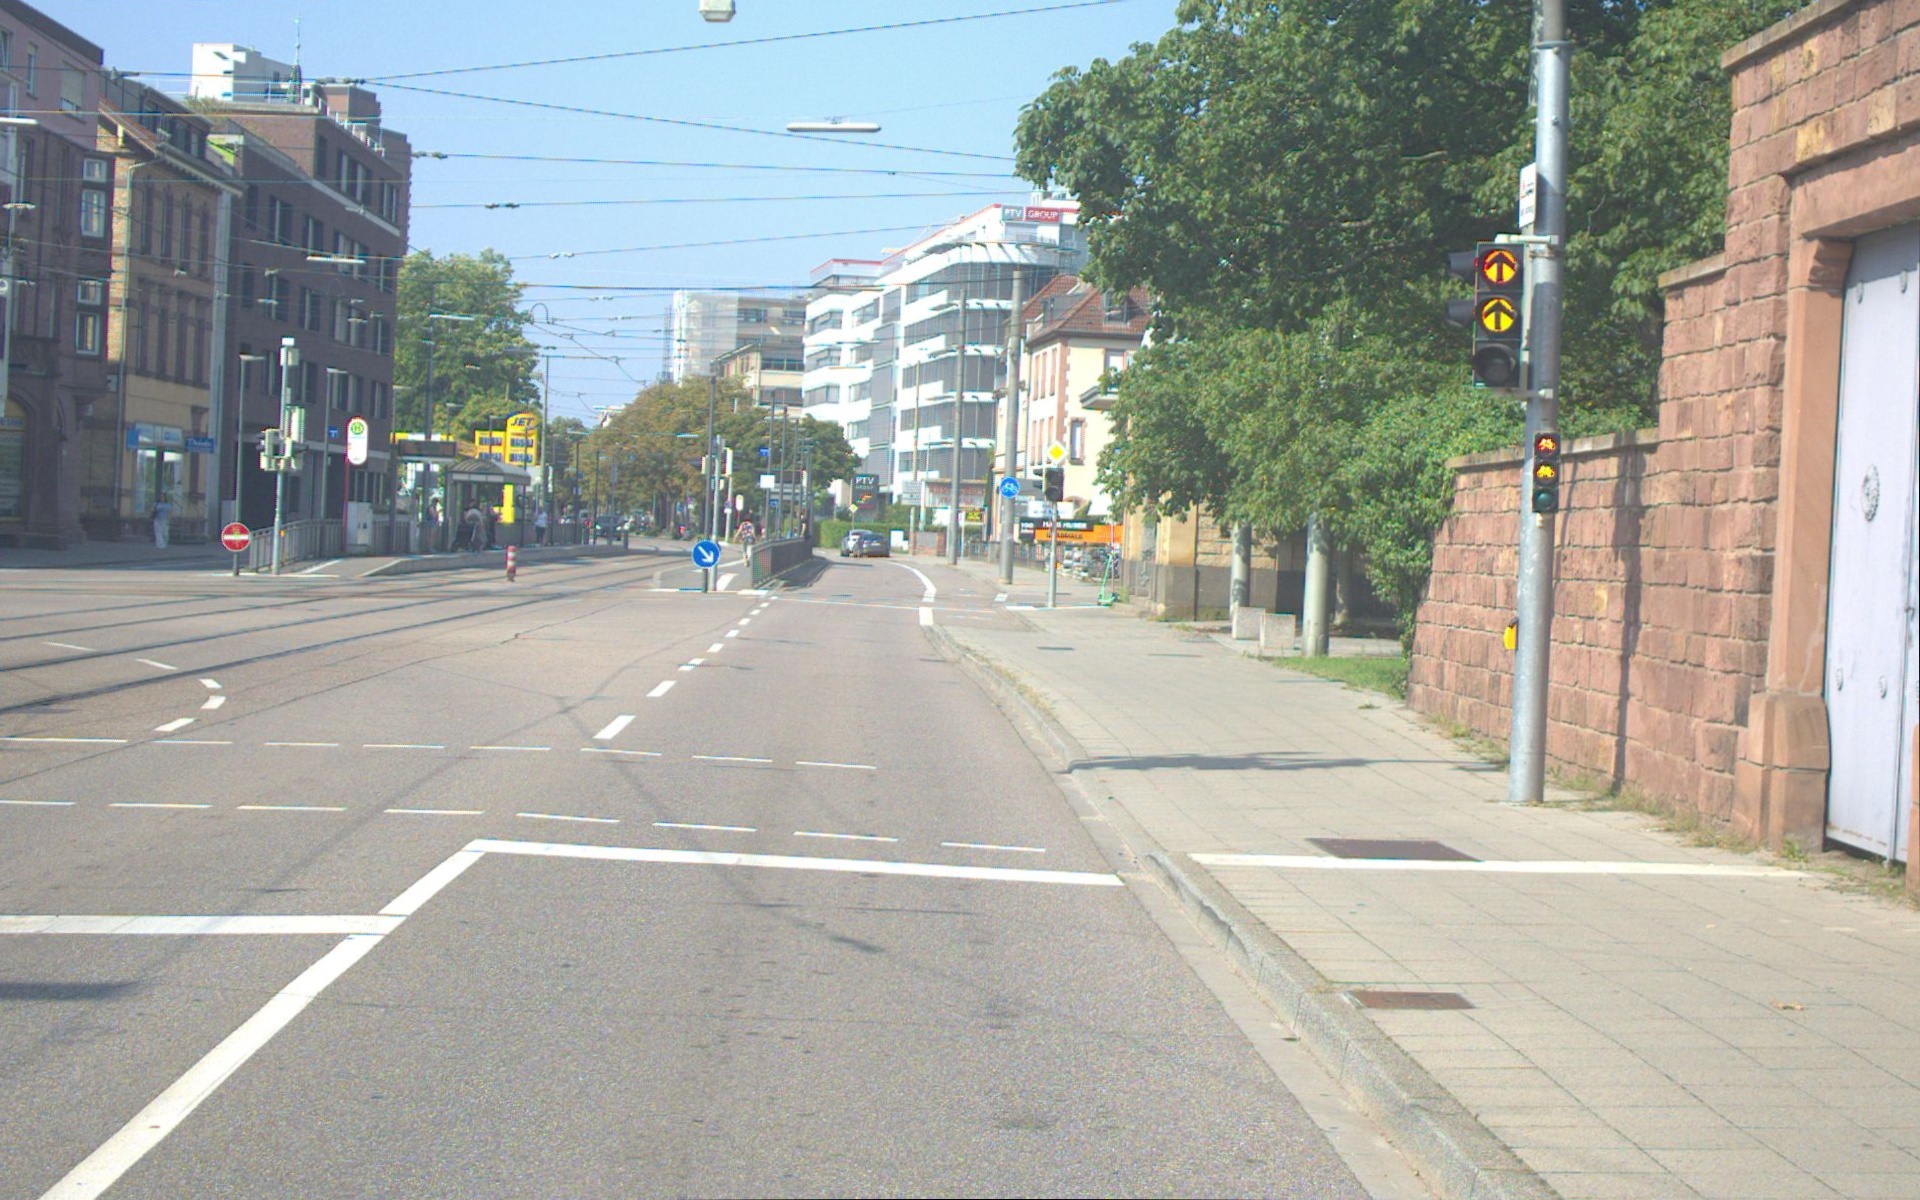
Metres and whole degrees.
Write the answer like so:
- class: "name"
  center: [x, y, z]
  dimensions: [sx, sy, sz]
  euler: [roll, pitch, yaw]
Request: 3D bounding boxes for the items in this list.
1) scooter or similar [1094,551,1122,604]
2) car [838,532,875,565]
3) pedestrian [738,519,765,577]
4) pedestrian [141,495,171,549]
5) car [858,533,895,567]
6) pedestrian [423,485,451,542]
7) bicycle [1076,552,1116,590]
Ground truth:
- class: "scooter or similar"
  center: [3.221, -0.503, 74.831]
  dimensions: [0.523, 1.129, 1.511]
  euler: [1, 1, -1]
- class: "car"
  center: [-6.074, -3.032, 202.428]
  dimensions: [2.011, 1.852, 4.000]
  euler: [1, 1, 0]
- class: "pedestrian"
  center: [-6.179, -1.539, 102.060]
  dimensions: [0.720, 1.697, 0.884]
  euler: [1, 1, 0]
- class: "pedestrian"
  center: [-24.166, -2.341, 103.305]
  dimensions: [0.483, 1.554, 0.886]
  euler: [4, 0, 10]
- class: "car"
  center: [-4.763, -2.855, 196.212]
  dimensions: [2.011, 1.852, 4.000]
  euler: [1, 1, 0]
- class: "pedestrian"
  center: [-15.965, -2.626, 104.963]
  dimensions: [0.708, 1.717, 0.799]
  euler: [1, 1, -1]
- class: "bicycle"
  center: [4.220, -0.906, 106.866]
  dimensions: [0.731, 1.129, 2.840]
  euler: [-1, 1, -8]
